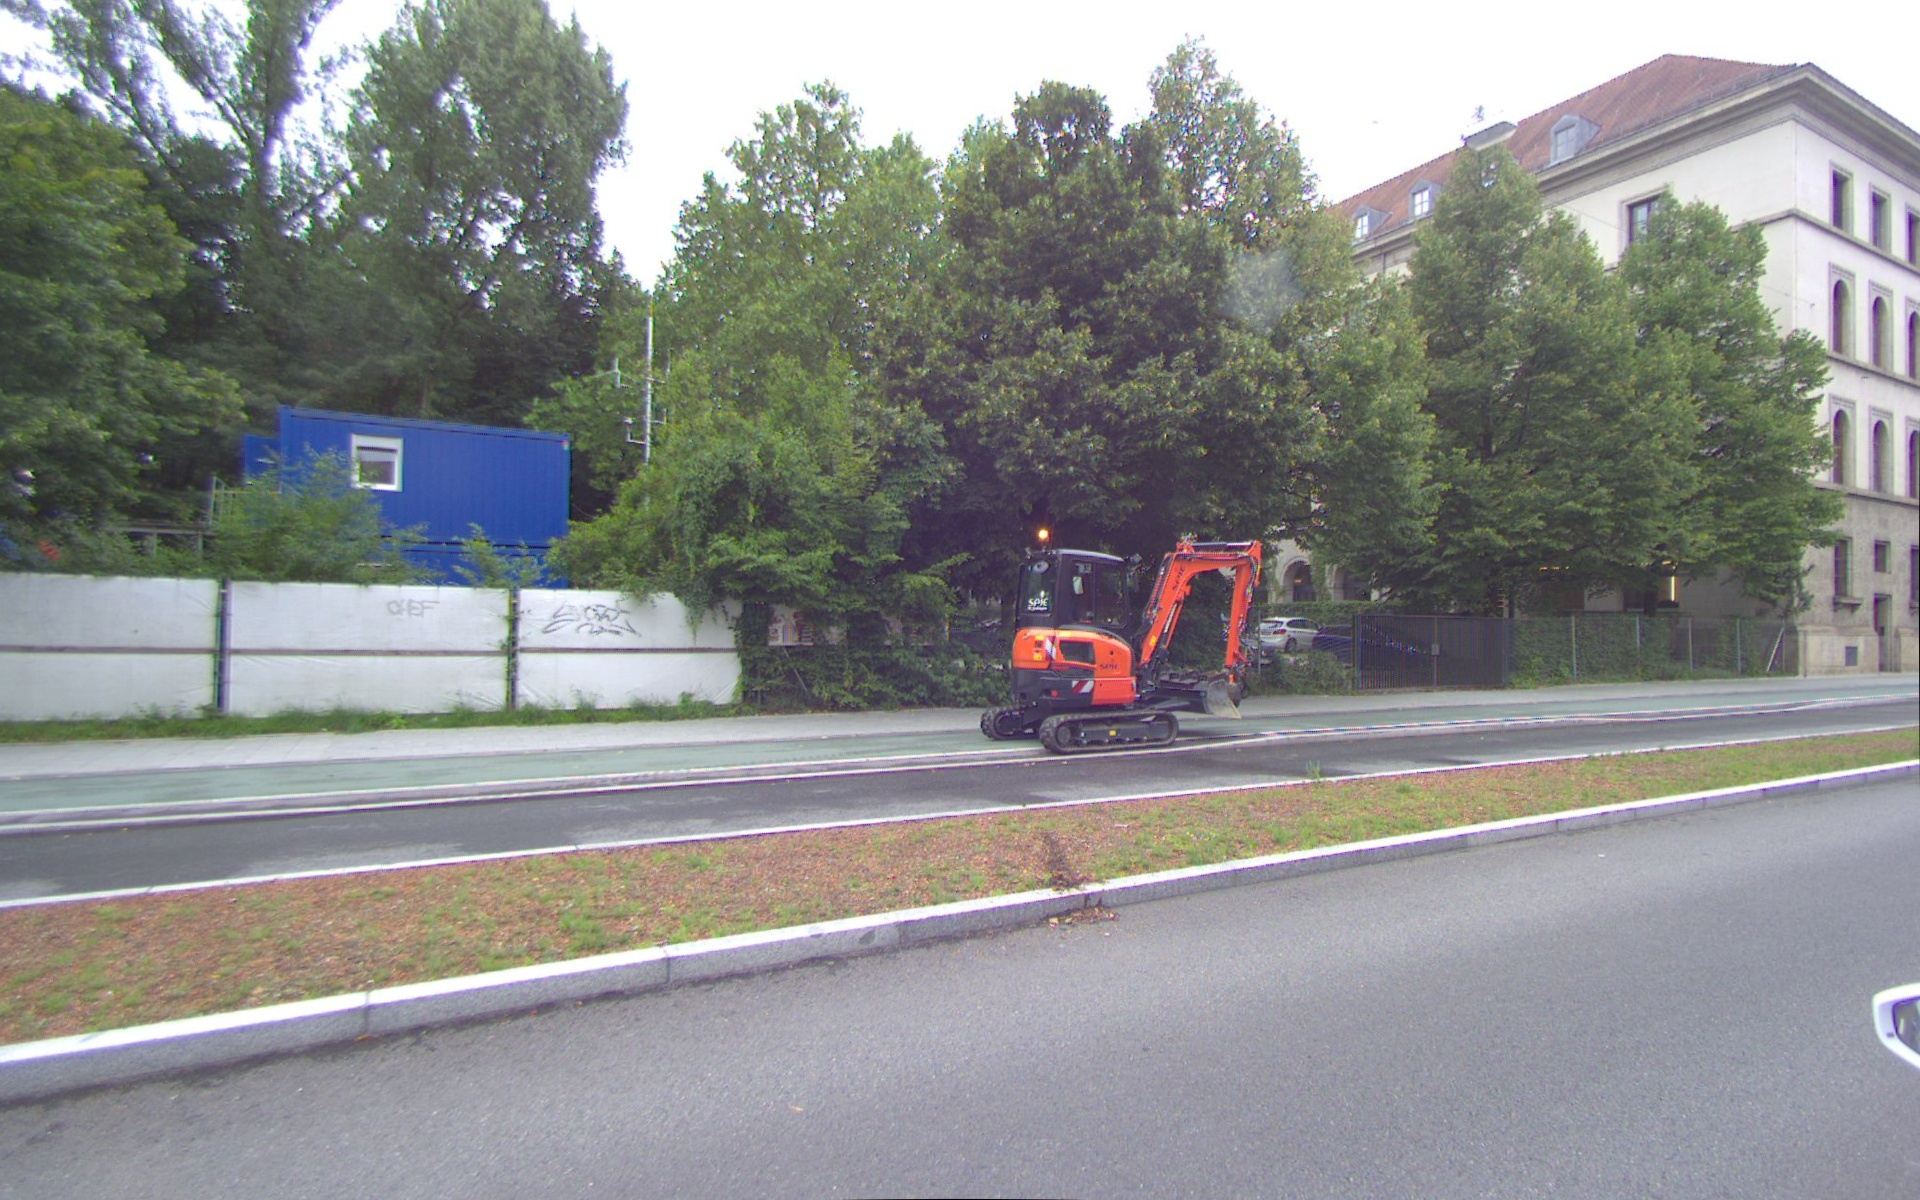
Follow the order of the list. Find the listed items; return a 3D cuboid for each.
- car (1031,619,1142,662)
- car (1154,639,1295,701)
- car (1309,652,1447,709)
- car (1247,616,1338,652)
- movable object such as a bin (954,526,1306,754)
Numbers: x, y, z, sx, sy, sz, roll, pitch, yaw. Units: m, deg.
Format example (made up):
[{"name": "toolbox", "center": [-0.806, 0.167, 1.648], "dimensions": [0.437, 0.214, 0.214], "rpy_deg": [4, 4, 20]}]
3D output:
[{"name": "car", "center": [5.010, 1.558, 39.599], "dimensions": [4.130, 1.566, 1.821], "rpy_deg": [1, 0, -31]}, {"name": "car", "center": [7.743, 2.014, 29.737], "dimensions": [1.815, 1.566, 3.908], "rpy_deg": [1, 0, -31]}, {"name": "car", "center": [13.701, 2.599, 33.114], "dimensions": [1.815, 1.566, 3.908], "rpy_deg": [1, 0, -31]}, {"name": "car", "center": [15.027, 1.513, 45.358], "dimensions": [3.895, 1.566, 1.821], "rpy_deg": [1, 0, -31]}, {"name": "movable object such as a bin", "center": [2.403, 0.532, 13.866], "dimensions": [4.611, 2.676, 1.984], "rpy_deg": [1, -2, -30]}]
